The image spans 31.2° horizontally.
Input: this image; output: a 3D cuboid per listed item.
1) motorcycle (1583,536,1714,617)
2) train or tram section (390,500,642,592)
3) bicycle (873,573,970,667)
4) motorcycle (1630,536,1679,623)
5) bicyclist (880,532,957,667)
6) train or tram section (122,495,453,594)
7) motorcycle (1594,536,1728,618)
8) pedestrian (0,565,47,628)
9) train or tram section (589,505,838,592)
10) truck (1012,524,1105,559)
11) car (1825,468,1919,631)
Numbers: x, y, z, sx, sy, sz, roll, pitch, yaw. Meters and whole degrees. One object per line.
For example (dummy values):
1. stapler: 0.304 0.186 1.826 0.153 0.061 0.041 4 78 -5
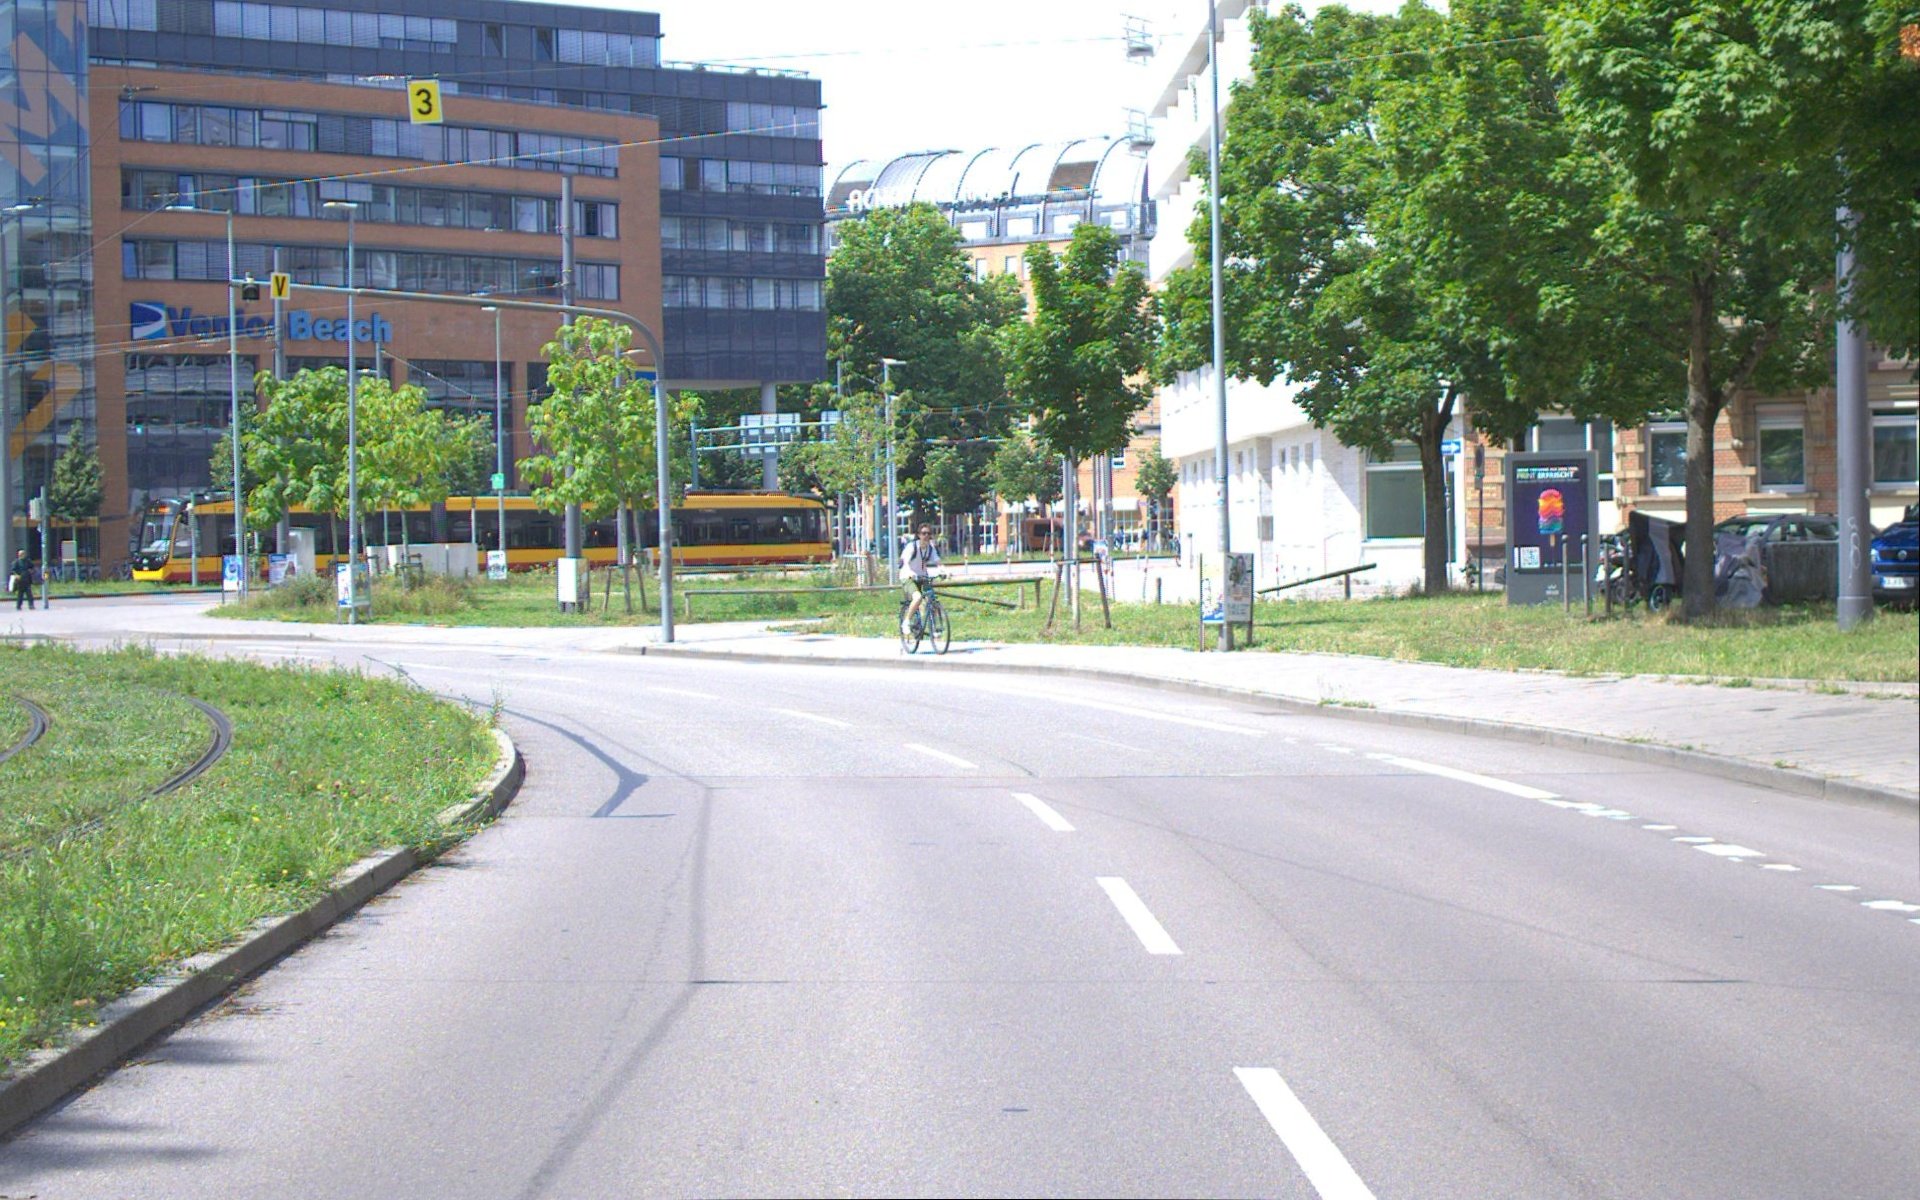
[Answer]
1. motorcycle: 10.130 -0.349 50.625 1.783 1.163 0.640 -1 1 -3
2. train or tram section: -17.911 -2.149 139.609 3.062 3.591 10.967 1 1 40
3. bicycle: -0.554 0.263 47.977 0.693 1.238 1.840 -4 2 -21
4. motorcycle: 9.522 -0.288 47.174 0.638 1.163 1.906 -1 1 11
5. bicyclist: -0.580 -0.017 47.989 0.694 1.818 0.956 -4 2 -20
6. train or tram section: -25.314 -2.063 130.478 3.223 3.587 13.470 1 1 38
7. motorcycle: 10.156 -0.335 49.846 1.783 1.163 0.640 -1 1 -3
8. pedestrian: -25.708 -0.102 94.310 0.917 1.696 0.807 -1 1 23
9. train or tram section: -10.528 -2.191 148.820 3.062 3.608 12.608 1 1 38
10. truck: 5.833 -3.448 203.826 5.518 2.078 1.995 1 1 42
11. car: 12.972 -0.606 42.138 4.615 1.921 1.917 0 1 -32
